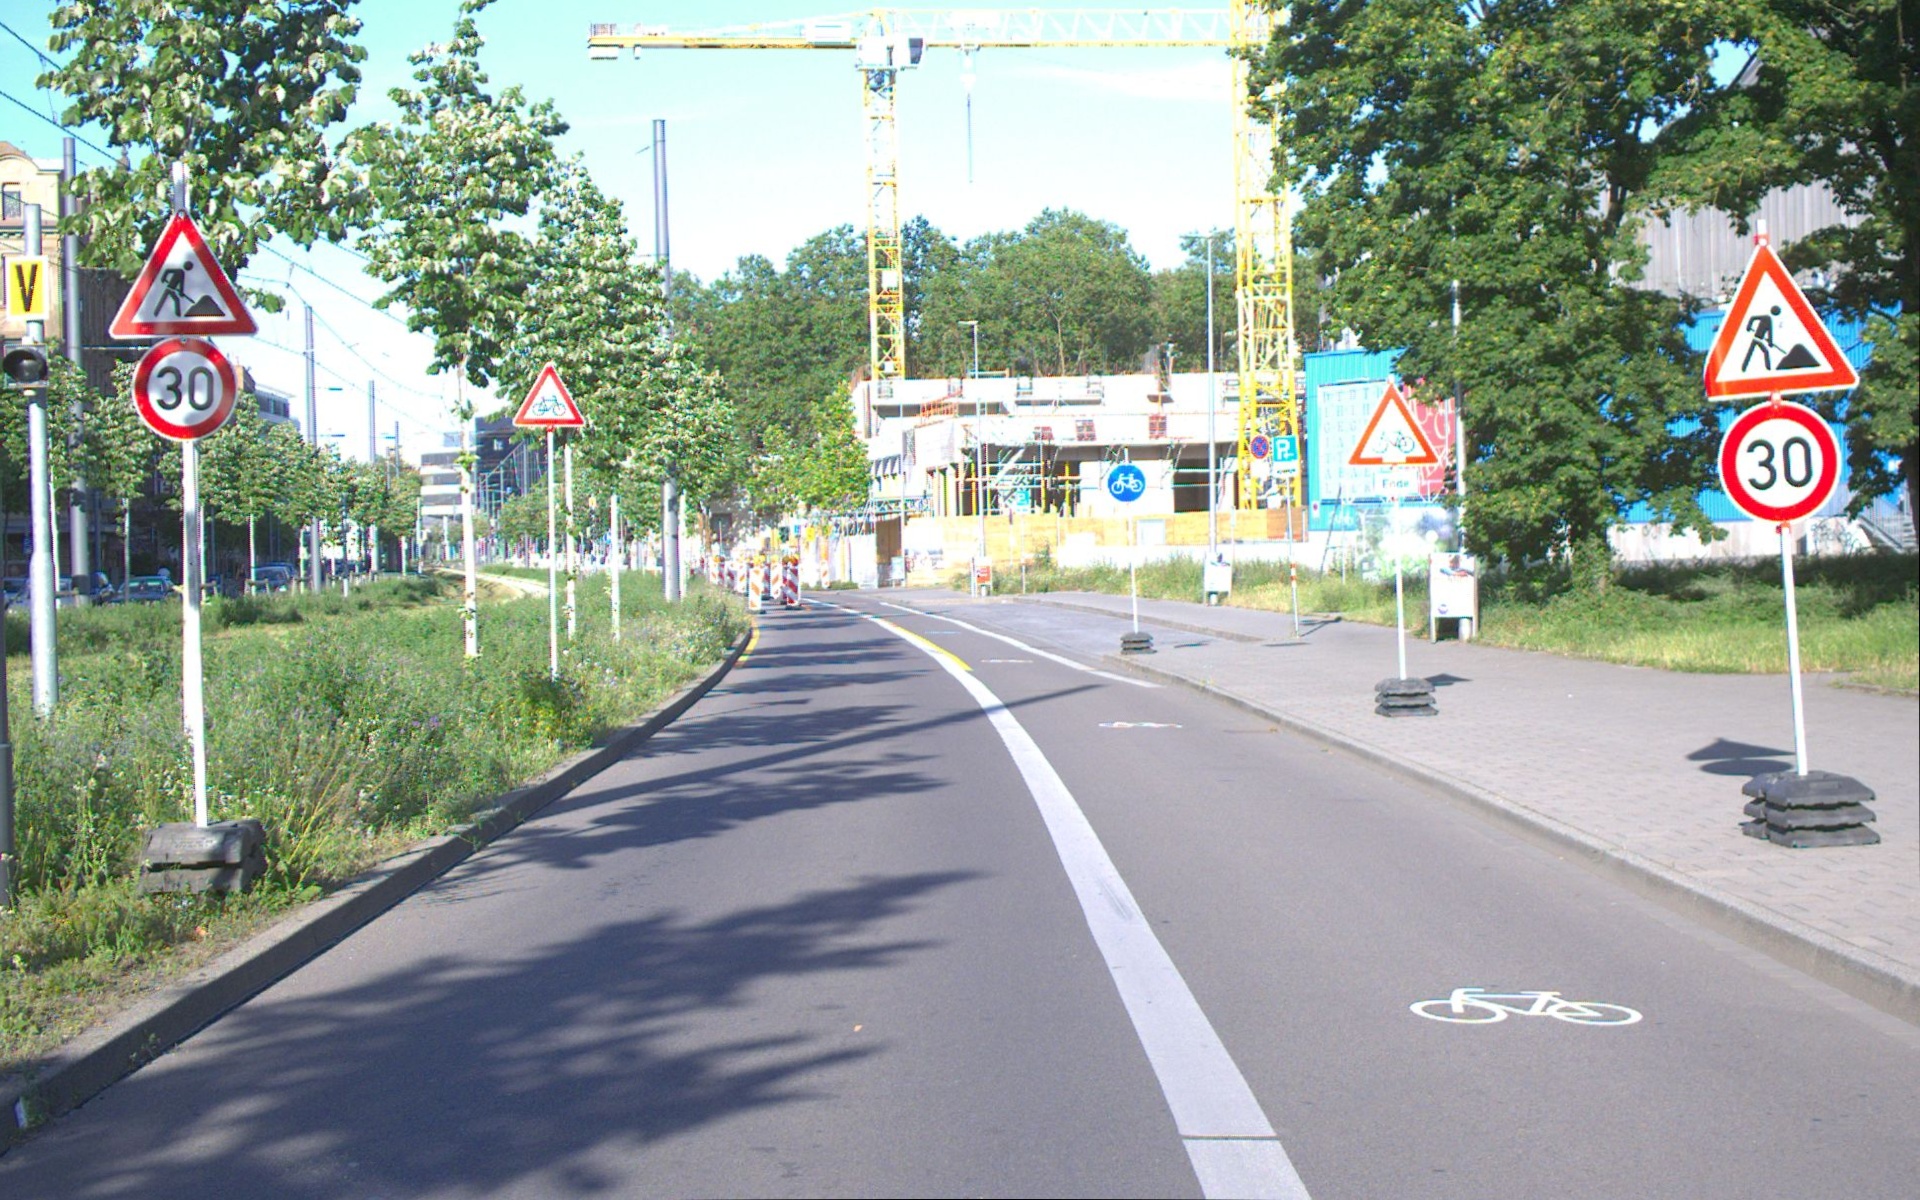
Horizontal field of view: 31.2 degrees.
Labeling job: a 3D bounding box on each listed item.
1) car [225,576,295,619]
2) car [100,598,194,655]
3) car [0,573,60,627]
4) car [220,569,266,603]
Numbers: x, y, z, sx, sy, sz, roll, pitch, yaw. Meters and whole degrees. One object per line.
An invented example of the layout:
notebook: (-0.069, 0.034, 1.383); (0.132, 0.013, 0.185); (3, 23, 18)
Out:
car: (-26.768, -0.106, 131.548); (1.903, 1.570, 4.301); (-1, 1, -2)
car: (-24.421, 0.788, 103.438); (1.903, 1.570, 4.411); (-1, 1, -2)
car: (-28.931, -0.004, 104.914); (1.903, 1.570, 4.301); (-1, 1, -2)
car: (-34.850, -0.673, 167.112); (1.903, 1.570, 4.302); (-1, 1, -9)
